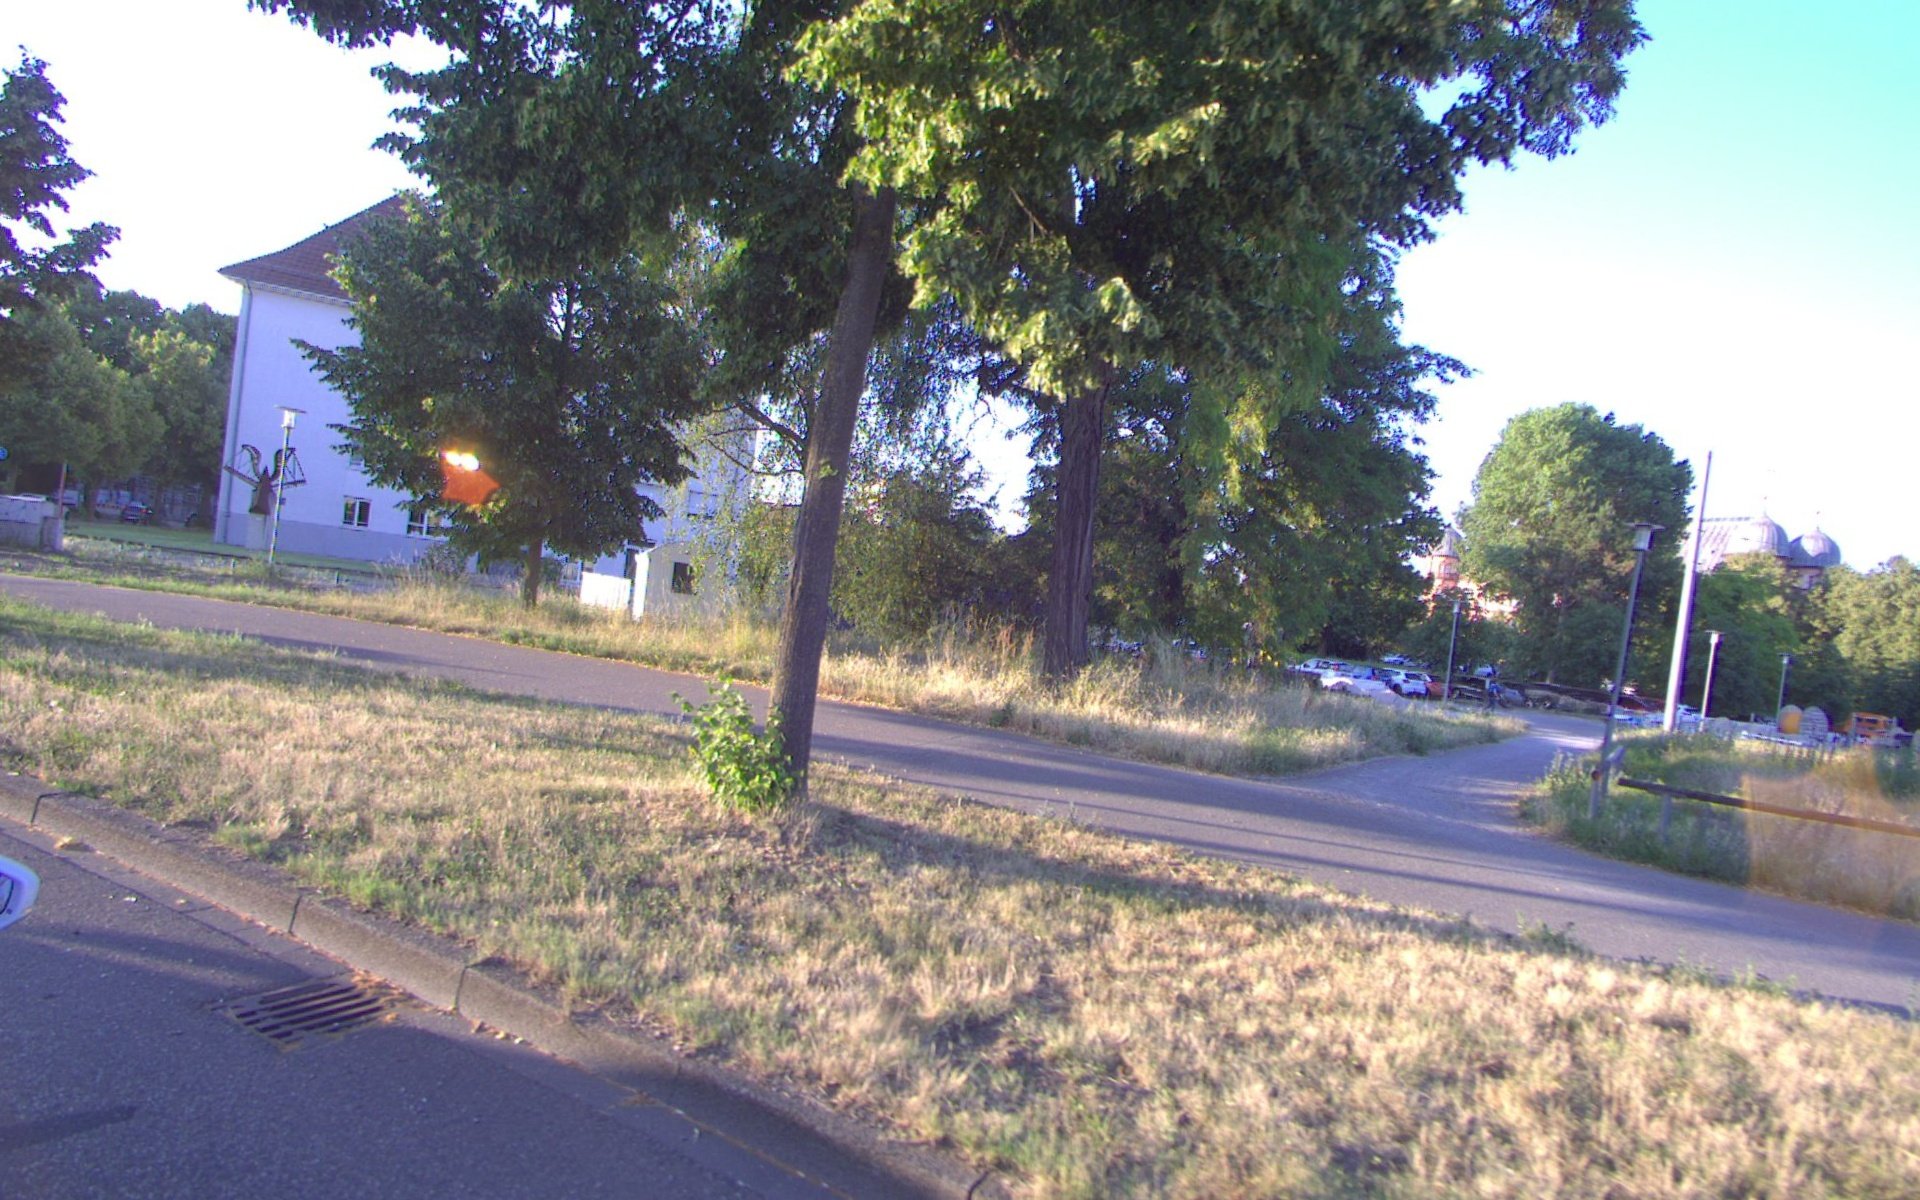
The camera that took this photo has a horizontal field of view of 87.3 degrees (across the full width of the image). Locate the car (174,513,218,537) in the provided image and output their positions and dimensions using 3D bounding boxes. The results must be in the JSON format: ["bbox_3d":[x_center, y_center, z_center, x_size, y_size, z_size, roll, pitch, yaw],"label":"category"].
[{"bbox_3d":[-66.740,-6.513,87.934,1.932,1.621,4.057,8,-1,-22],"label":"car"}]

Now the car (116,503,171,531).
[{"bbox_3d":[-61.005,-6.189,75.242,1.932,1.621,4.057,8,-1,-22],"label":"car"}]

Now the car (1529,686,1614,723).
[{"bbox_3d":[37.500,6.381,61.766,1.881,1.572,3.973,7,-1,-27],"label":"car"}]

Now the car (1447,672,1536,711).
[{"bbox_3d":[30.637,5.260,58.109,1.881,1.572,4.071,7,-1,-27],"label":"car"}]

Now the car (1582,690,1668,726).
[{"bbox_3d":[41.691,6.743,63.166,1.881,1.572,3.973,7,-1,-27],"label":"car"}]

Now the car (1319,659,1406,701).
[{"bbox_3d":[21.832,4.303,54.702,1.930,1.682,3.973,7,-1,-27],"label":"car"}]

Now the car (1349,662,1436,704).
[{"bbox_3d":[23.831,4.571,55.591,1.930,1.682,3.973,7,-1,-27],"label":"car"}]

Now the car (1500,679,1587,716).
[{"bbox_3d":[34.947,5.838,60.350,1.881,1.572,3.973,7,-1,-27],"label":"car"}]

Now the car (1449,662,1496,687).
[{"bbox_3d":[51.212,7.442,100.462,3.952,1.765,1.987,9,0,-25],"label":"car"}]

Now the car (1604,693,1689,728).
[{"bbox_3d":[43.837,7.028,64.343,1.881,1.572,3.973,7,-1,-27],"label":"car"}]

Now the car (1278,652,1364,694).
[{"bbox_3d":[19.348,3.903,54.090,1.930,1.682,3.973,7,-1,-27],"label":"car"}]

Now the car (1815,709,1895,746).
[{"bbox_3d":[67.724,9.621,76.168,1.881,2.121,3.973,7,0,-27],"label":"car"}]

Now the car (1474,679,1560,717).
[{"bbox_3d":[32.765,5.746,59.277,1.881,1.572,3.973,7,-1,-27],"label":"car"}]

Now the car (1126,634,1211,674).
[{"bbox_3d":[10.259,2.659,49.768,1.930,1.463,3.973,7,-1,-27],"label":"car"}]

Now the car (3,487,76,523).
[{"bbox_3d":[-55.739,-5.712,61.028,1.933,1.621,4.054,8,-1,-24],"label":"car"}]

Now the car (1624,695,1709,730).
[{"bbox_3d":[45.962,7.320,65.503,1.881,1.572,3.973,7,-1,-27],"label":"car"}]

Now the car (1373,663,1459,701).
[{"bbox_3d":[25.843,4.641,57.132,1.881,1.572,3.973,7,-1,-27],"label":"car"}]
